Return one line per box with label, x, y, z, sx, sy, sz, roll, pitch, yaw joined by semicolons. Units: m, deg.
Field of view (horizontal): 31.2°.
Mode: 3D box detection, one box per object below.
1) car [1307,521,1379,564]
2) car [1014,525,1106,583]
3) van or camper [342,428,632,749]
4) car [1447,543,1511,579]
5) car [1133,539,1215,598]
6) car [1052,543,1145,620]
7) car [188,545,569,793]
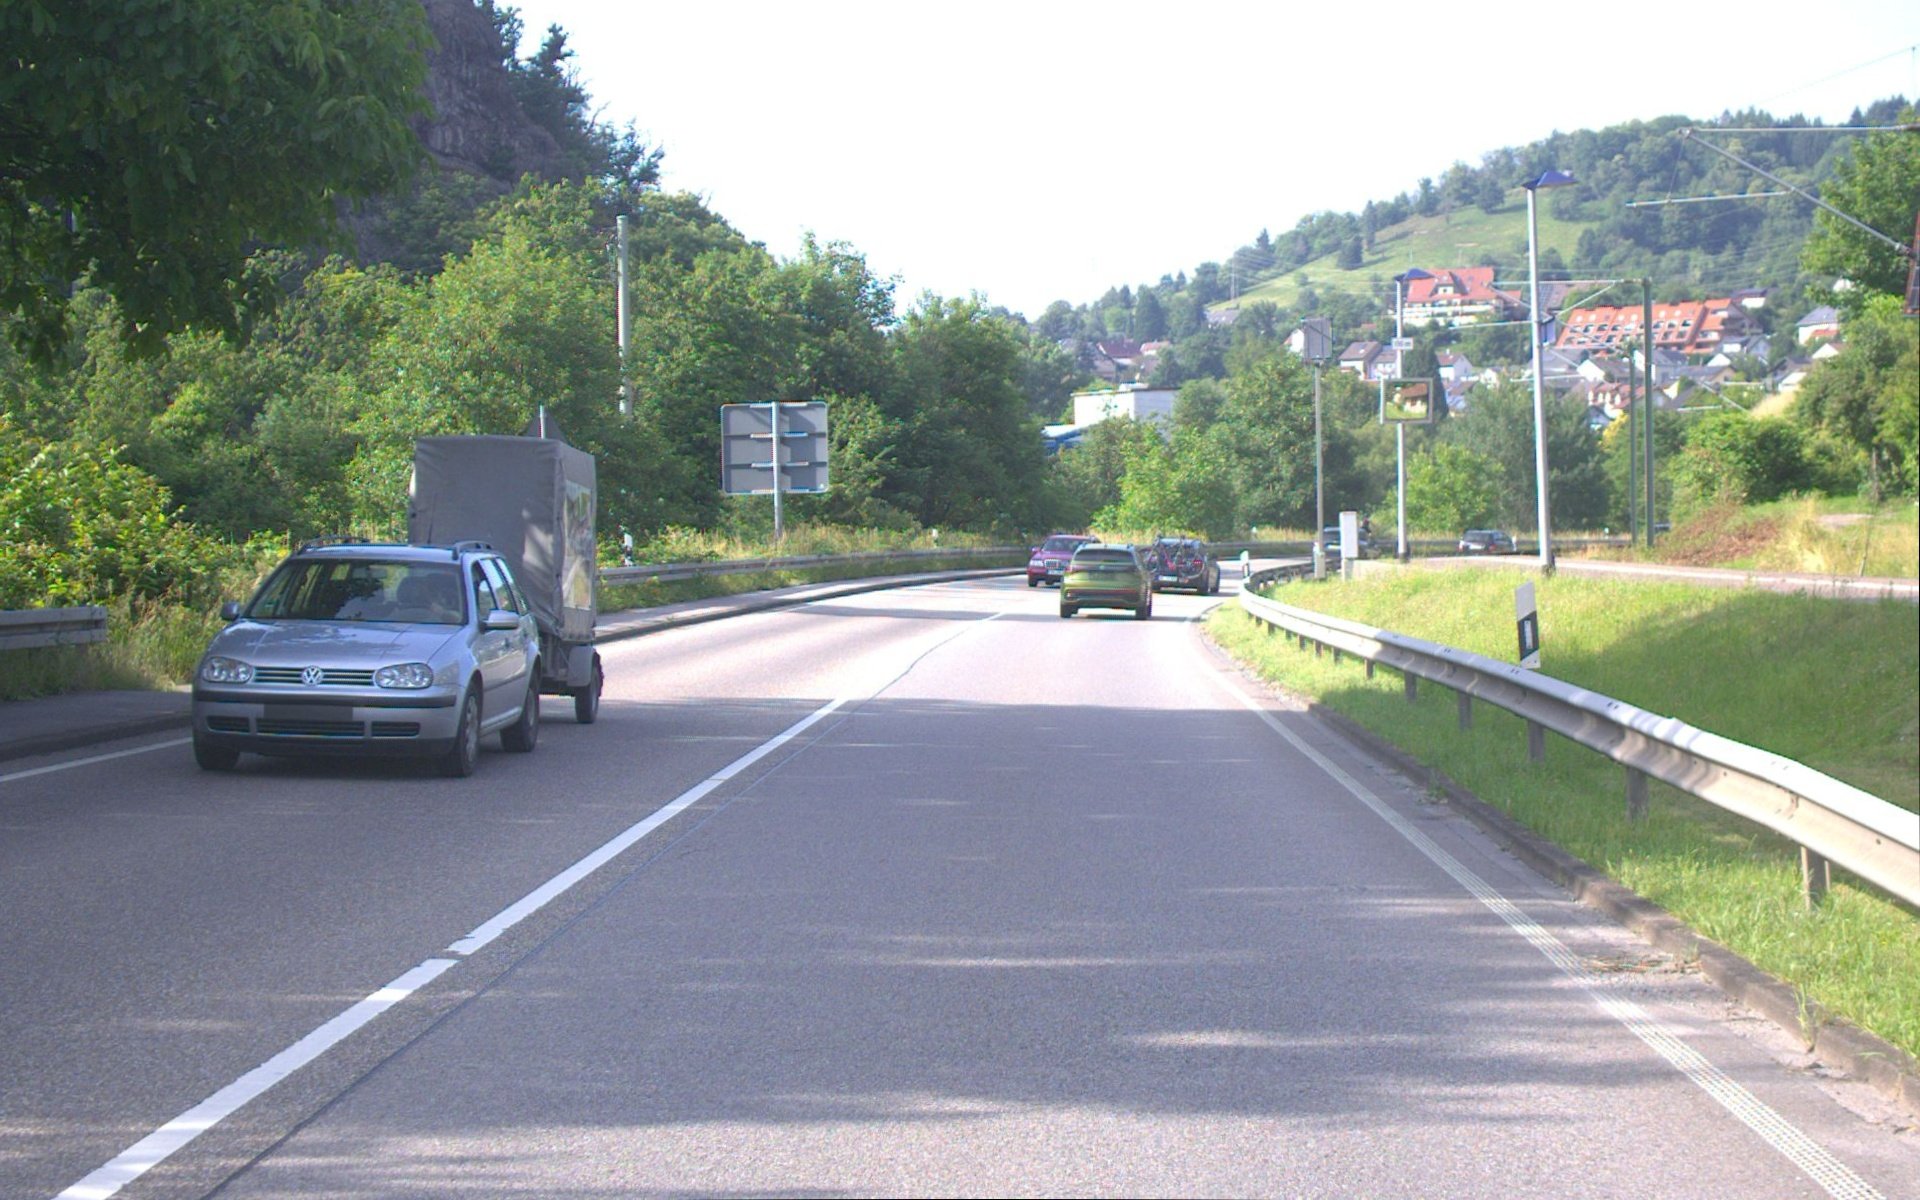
car;13.561;-2.043;121.628;1.808;1.448;3.644;-1;1;18
car;2.737;-1.281;93.381;1.842;1.464;4.942;2;2;9
van or camper;-3.691;-0.130;27.436;1.603;2.321;4.059;2;1;1
car;21.837;-1.659;144.536;1.810;1.403;3.769;-1;1;22
car;5.674;-0.842;90.970;1.840;1.454;3.712;-2;1;8
car;2.802;-0.387;68.961;1.728;1.452;3.410;-2;1;4
car;-3.782;0.379;23.090;1.648;1.431;4.606;2;1;1
